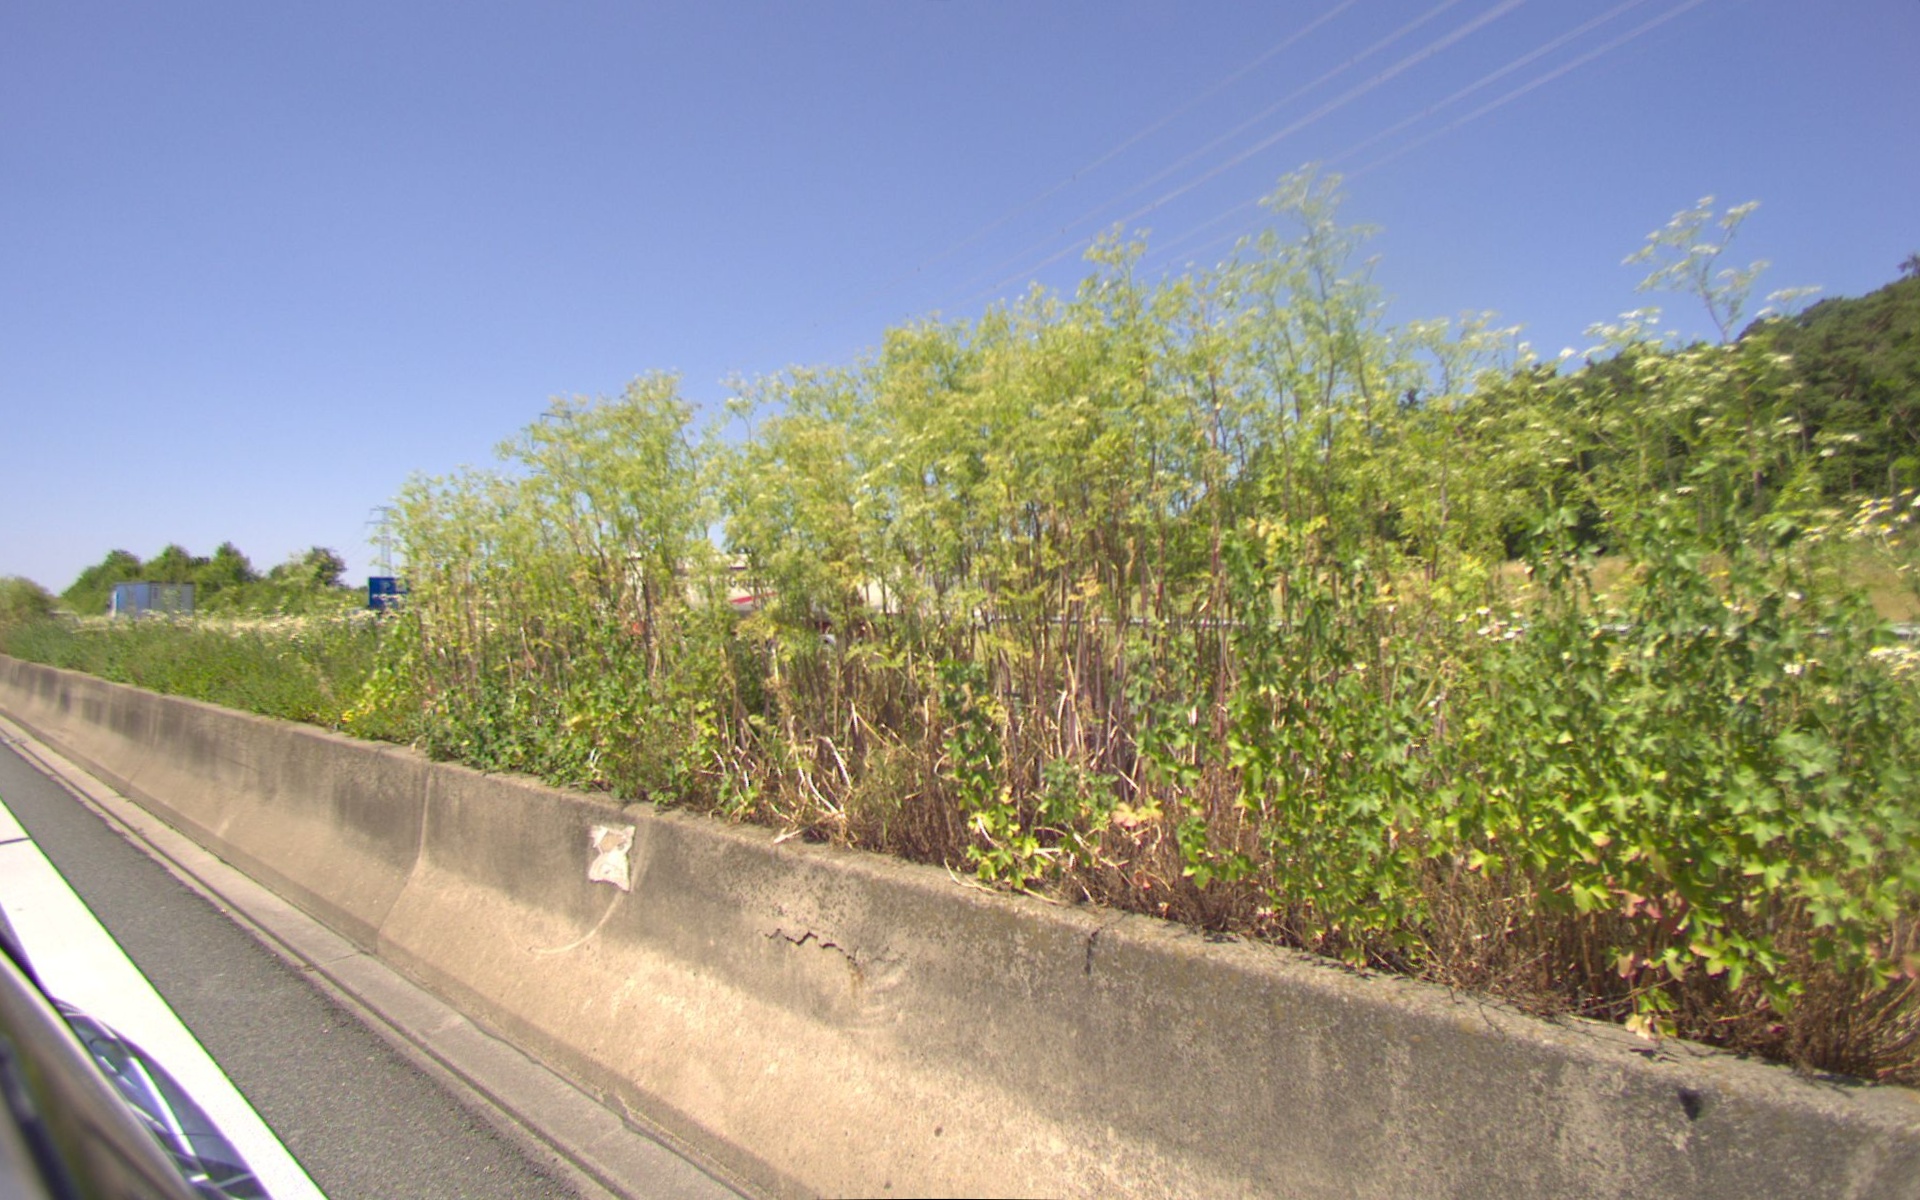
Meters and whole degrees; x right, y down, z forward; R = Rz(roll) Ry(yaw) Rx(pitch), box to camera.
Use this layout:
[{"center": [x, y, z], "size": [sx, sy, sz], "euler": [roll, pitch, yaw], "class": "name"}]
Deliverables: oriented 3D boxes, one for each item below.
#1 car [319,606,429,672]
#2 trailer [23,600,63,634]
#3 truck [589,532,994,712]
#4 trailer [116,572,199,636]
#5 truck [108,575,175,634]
[{"center": [-17.250, 1.105, 29.743], "size": [4.024, 1.801, 1.588], "euler": [-1, -1, 41], "class": "car"}, {"center": [-119.425, 2.192, 131.762], "size": [10.683, 4.238, 2.792], "euler": [0, 1, 42], "class": "trailer"}, {"center": [-4.550, 0.500, 23.687], "size": [11.819, 3.313, 2.735], "euler": [-1, -1, 43], "class": "truck"}, {"center": [-57.485, 0.294, 72.365], "size": [10.980, 4.260, 2.979], "euler": [-1, -1, 43], "class": "trailer"}, {"center": [-61.698, 0.337, 76.271], "size": [6.685, 4.260, 2.979], "euler": [-1, -1, 43], "class": "truck"}]
